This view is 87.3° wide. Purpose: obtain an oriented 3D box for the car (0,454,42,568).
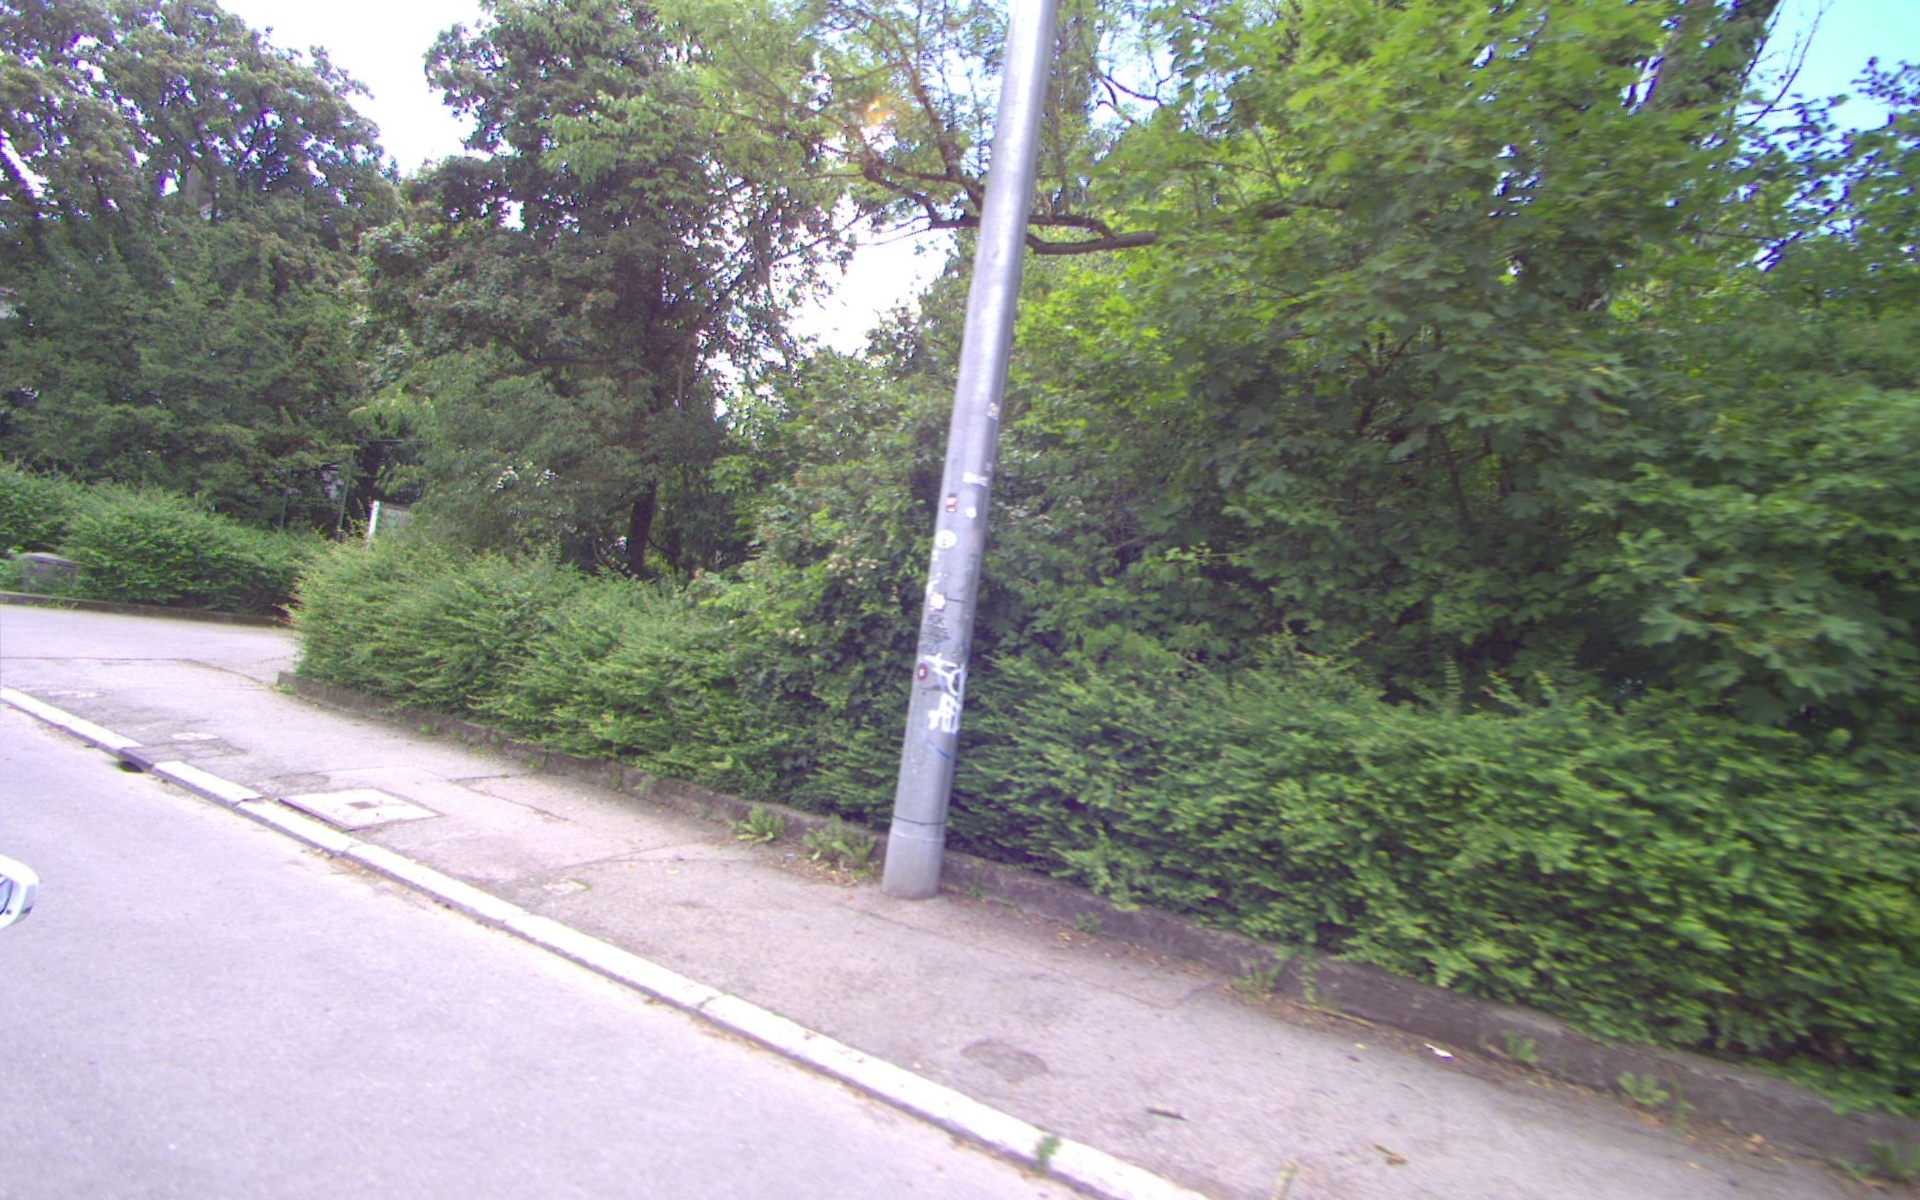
[{"bbox_3d":[-26.408,-2.631,25.158,5.088,2.709,2.511,8,-4,16],"label":"car"}]
